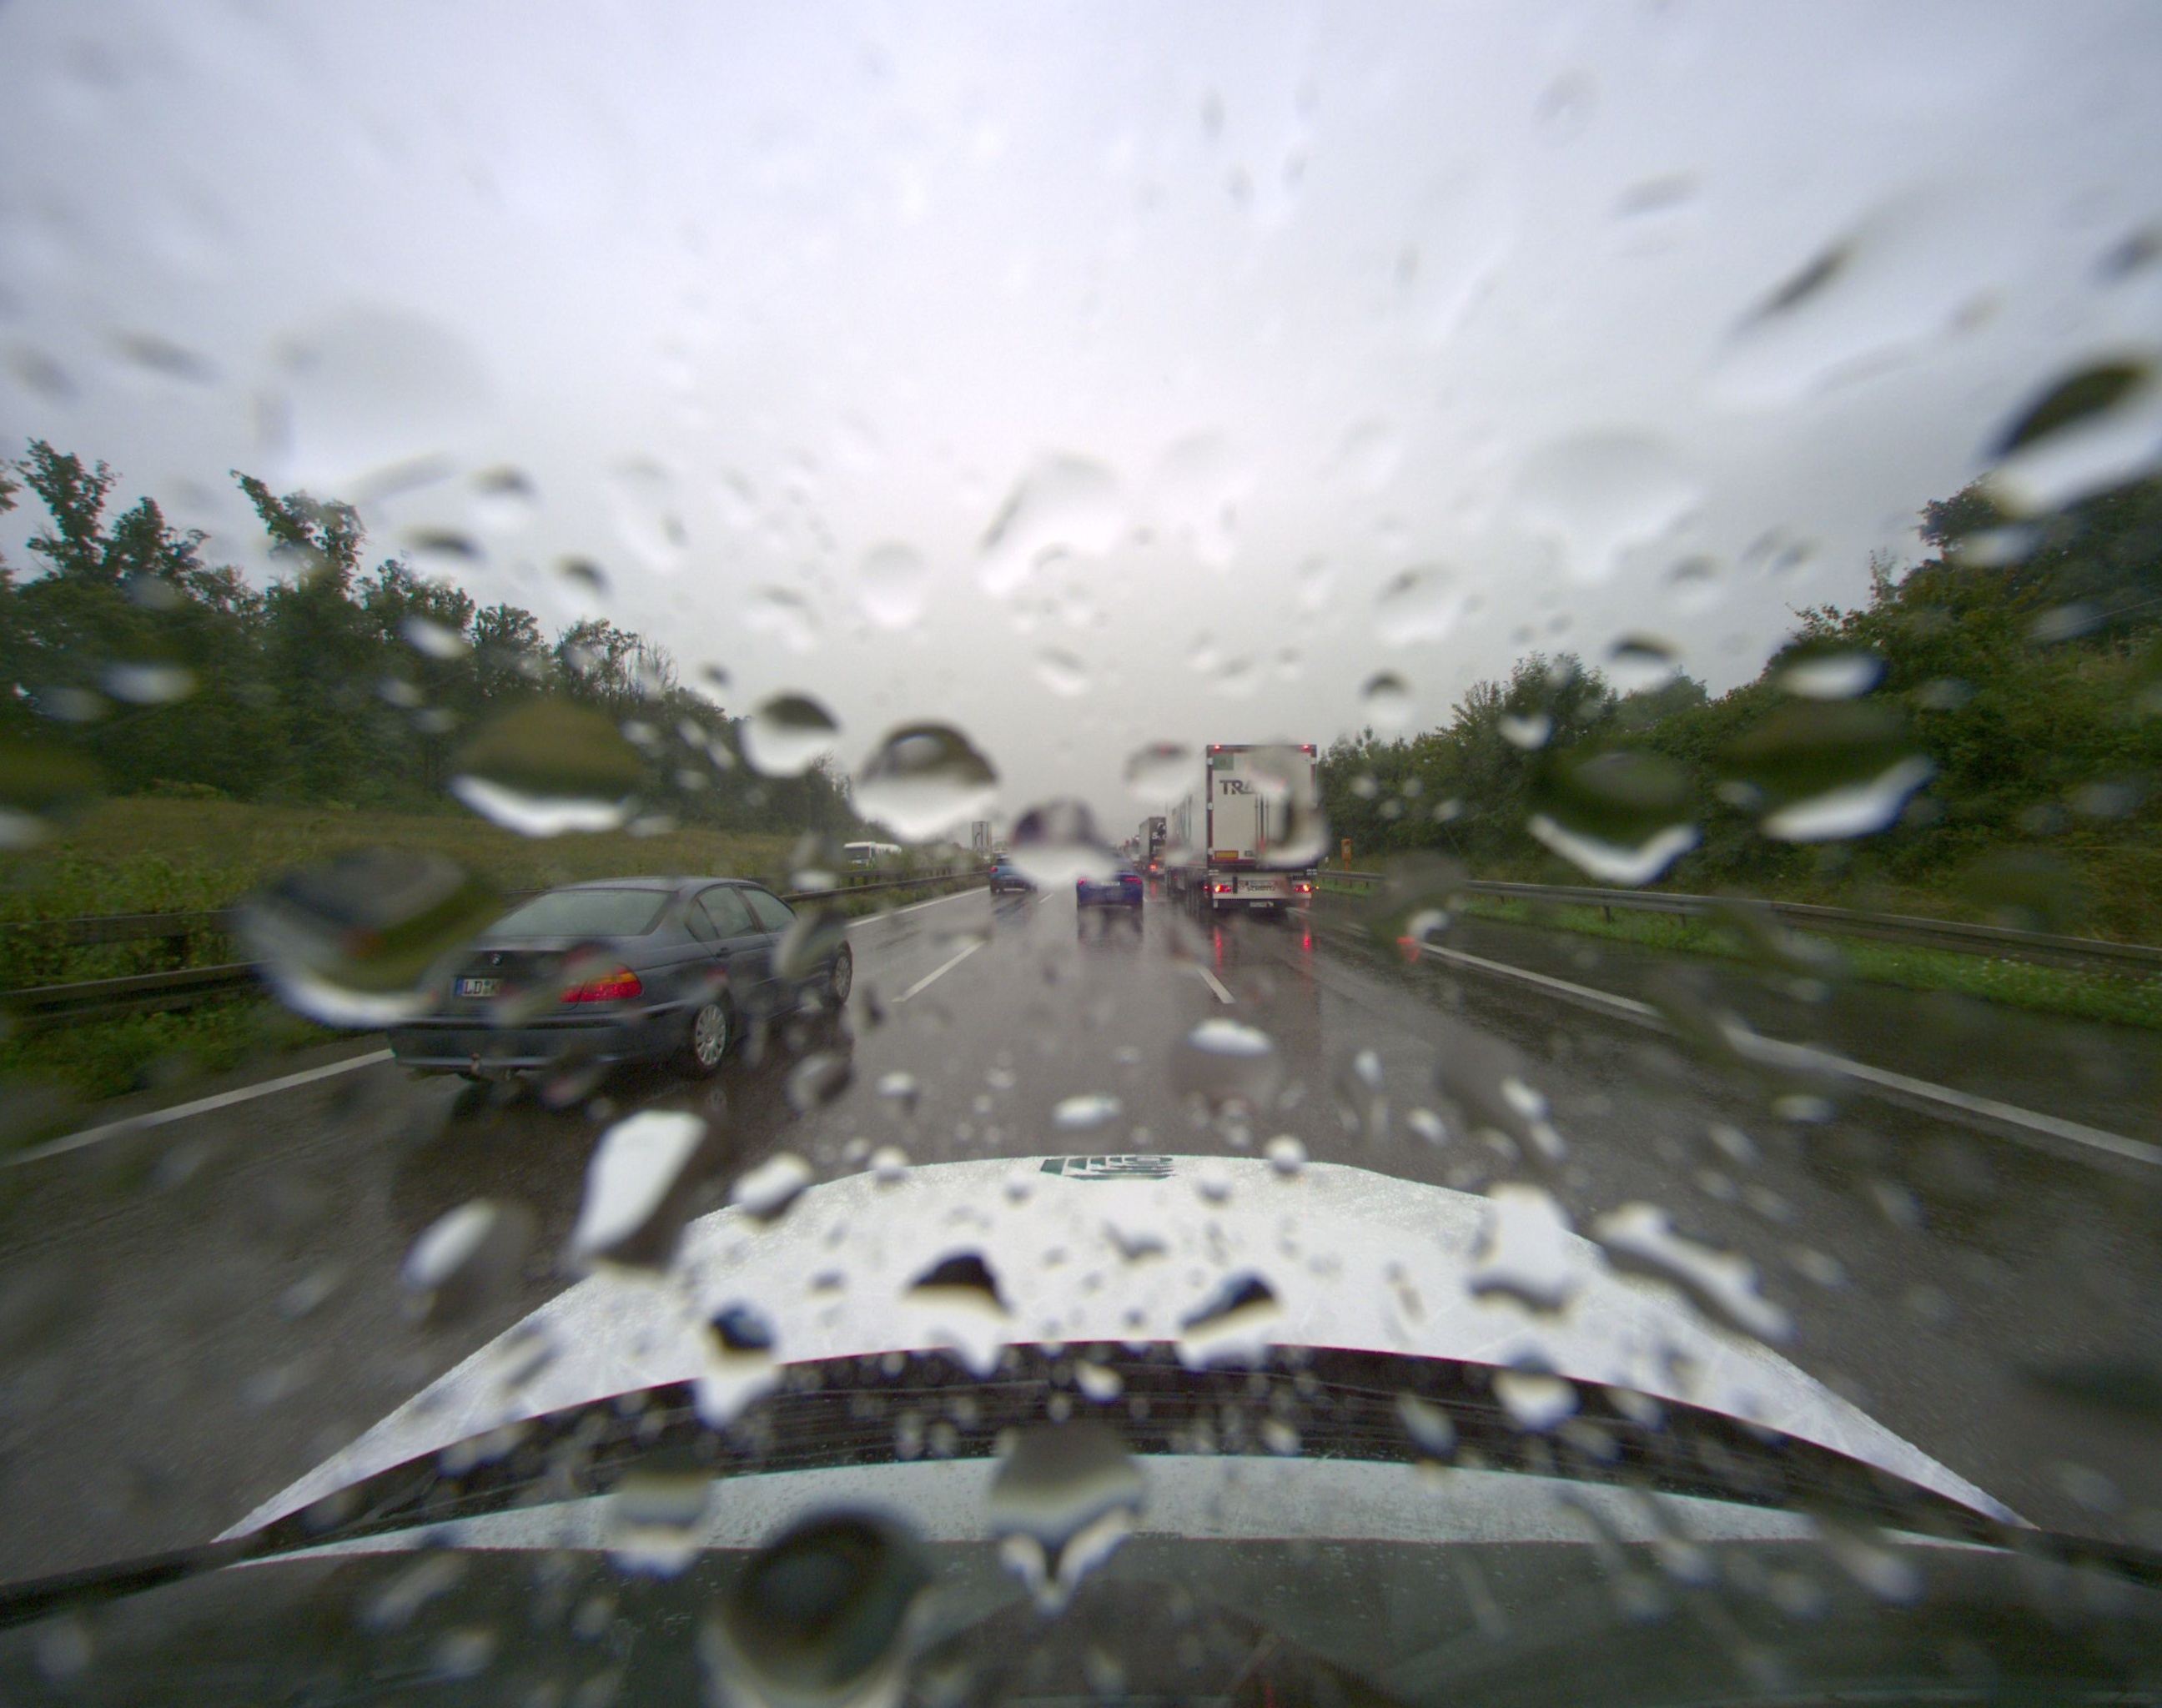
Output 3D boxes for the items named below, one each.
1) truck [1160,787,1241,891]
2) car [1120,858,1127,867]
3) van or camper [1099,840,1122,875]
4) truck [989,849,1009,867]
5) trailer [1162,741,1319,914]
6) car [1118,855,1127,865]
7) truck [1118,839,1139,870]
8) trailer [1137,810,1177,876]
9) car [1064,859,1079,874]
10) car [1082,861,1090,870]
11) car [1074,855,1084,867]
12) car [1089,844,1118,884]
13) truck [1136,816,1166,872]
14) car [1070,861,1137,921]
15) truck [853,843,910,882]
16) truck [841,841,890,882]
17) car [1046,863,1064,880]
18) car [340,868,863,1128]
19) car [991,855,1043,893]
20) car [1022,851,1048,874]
[{"bbox_3d":[4.678,-0.569,32.649,2.620,3.827,4.793,-1,0,2],"label":"truck"},{"bbox_3d":[8.021,1.568,154.881,1.244,1.512,3.109,-2,1,1],"label":"car"},{"bbox_3d":[2.393,0.269,67.028,1.790,2.806,4.770,-1,0,2],"label":"van or camper"},{"bbox_3d":[-13.134,0.625,130.372,2.471,2.719,4.530,-3,-2,3],"label":"truck"},{"bbox_3d":[4.464,-0.631,26.348,2.620,4.013,14.635,-1,0,2],"label":"trailer"},{"bbox_3d":[7.289,1.088,142.547,1.443,1.784,3.410,0,0,2],"label":"car"},{"bbox_3d":[5.395,0.019,92.733,1.987,3.421,8.032,-1,0,1],"label":"truck"},{"bbox_3d":[5.226,-0.720,57.392,2.039,4.176,11.453,-1,0,2],"label":"trailer"},{"bbox_3d":[-1.006,1.347,88.653,1.434,1.533,3.323,-1,0,2],"label":"car"},{"bbox_3d":[1.023,2.256,163.224,1.443,1.784,3.410,0,0,2],"label":"car"},{"bbox_3d":[-0.299,1.095,122.940,1.443,1.784,3.410,0,0,2],"label":"car"},{"bbox_3d":[1.081,0.460,38.905,1.332,1.780,3.323,-1,0,2],"label":"car"},{"bbox_3d":[5.411,-0.748,63.273,2.039,4.193,4.002,-1,0,2],"label":"truck"},{"bbox_3d":[0.651,0.952,22.314,1.629,1.445,4.003,-1,0,3],"label":"car"},{"bbox_3d":[-18.299,0.825,75.266,2.545,3.298,9.351,-3,-1,2],"label":"truck"},{"bbox_3d":[-18.440,0.666,69.953,2.532,3.280,5.199,-3,-1,1],"label":"truck"},{"bbox_3d":[-2.344,1.575,73.853,1.434,1.420,3.323,-1,0,2],"label":"car"},{"bbox_3d":[-3.331,0.867,6.795,1.711,1.400,4.232,-1,0,2],"label":"car"},{"bbox_3d":[-2.716,0.815,35.323,1.715,1.523,4.003,-1,0,3],"label":"car"},{"bbox_3d":[-2.999,0.520,53.527,1.354,1.431,3.365,-1,0,2],"label":"car"}]
